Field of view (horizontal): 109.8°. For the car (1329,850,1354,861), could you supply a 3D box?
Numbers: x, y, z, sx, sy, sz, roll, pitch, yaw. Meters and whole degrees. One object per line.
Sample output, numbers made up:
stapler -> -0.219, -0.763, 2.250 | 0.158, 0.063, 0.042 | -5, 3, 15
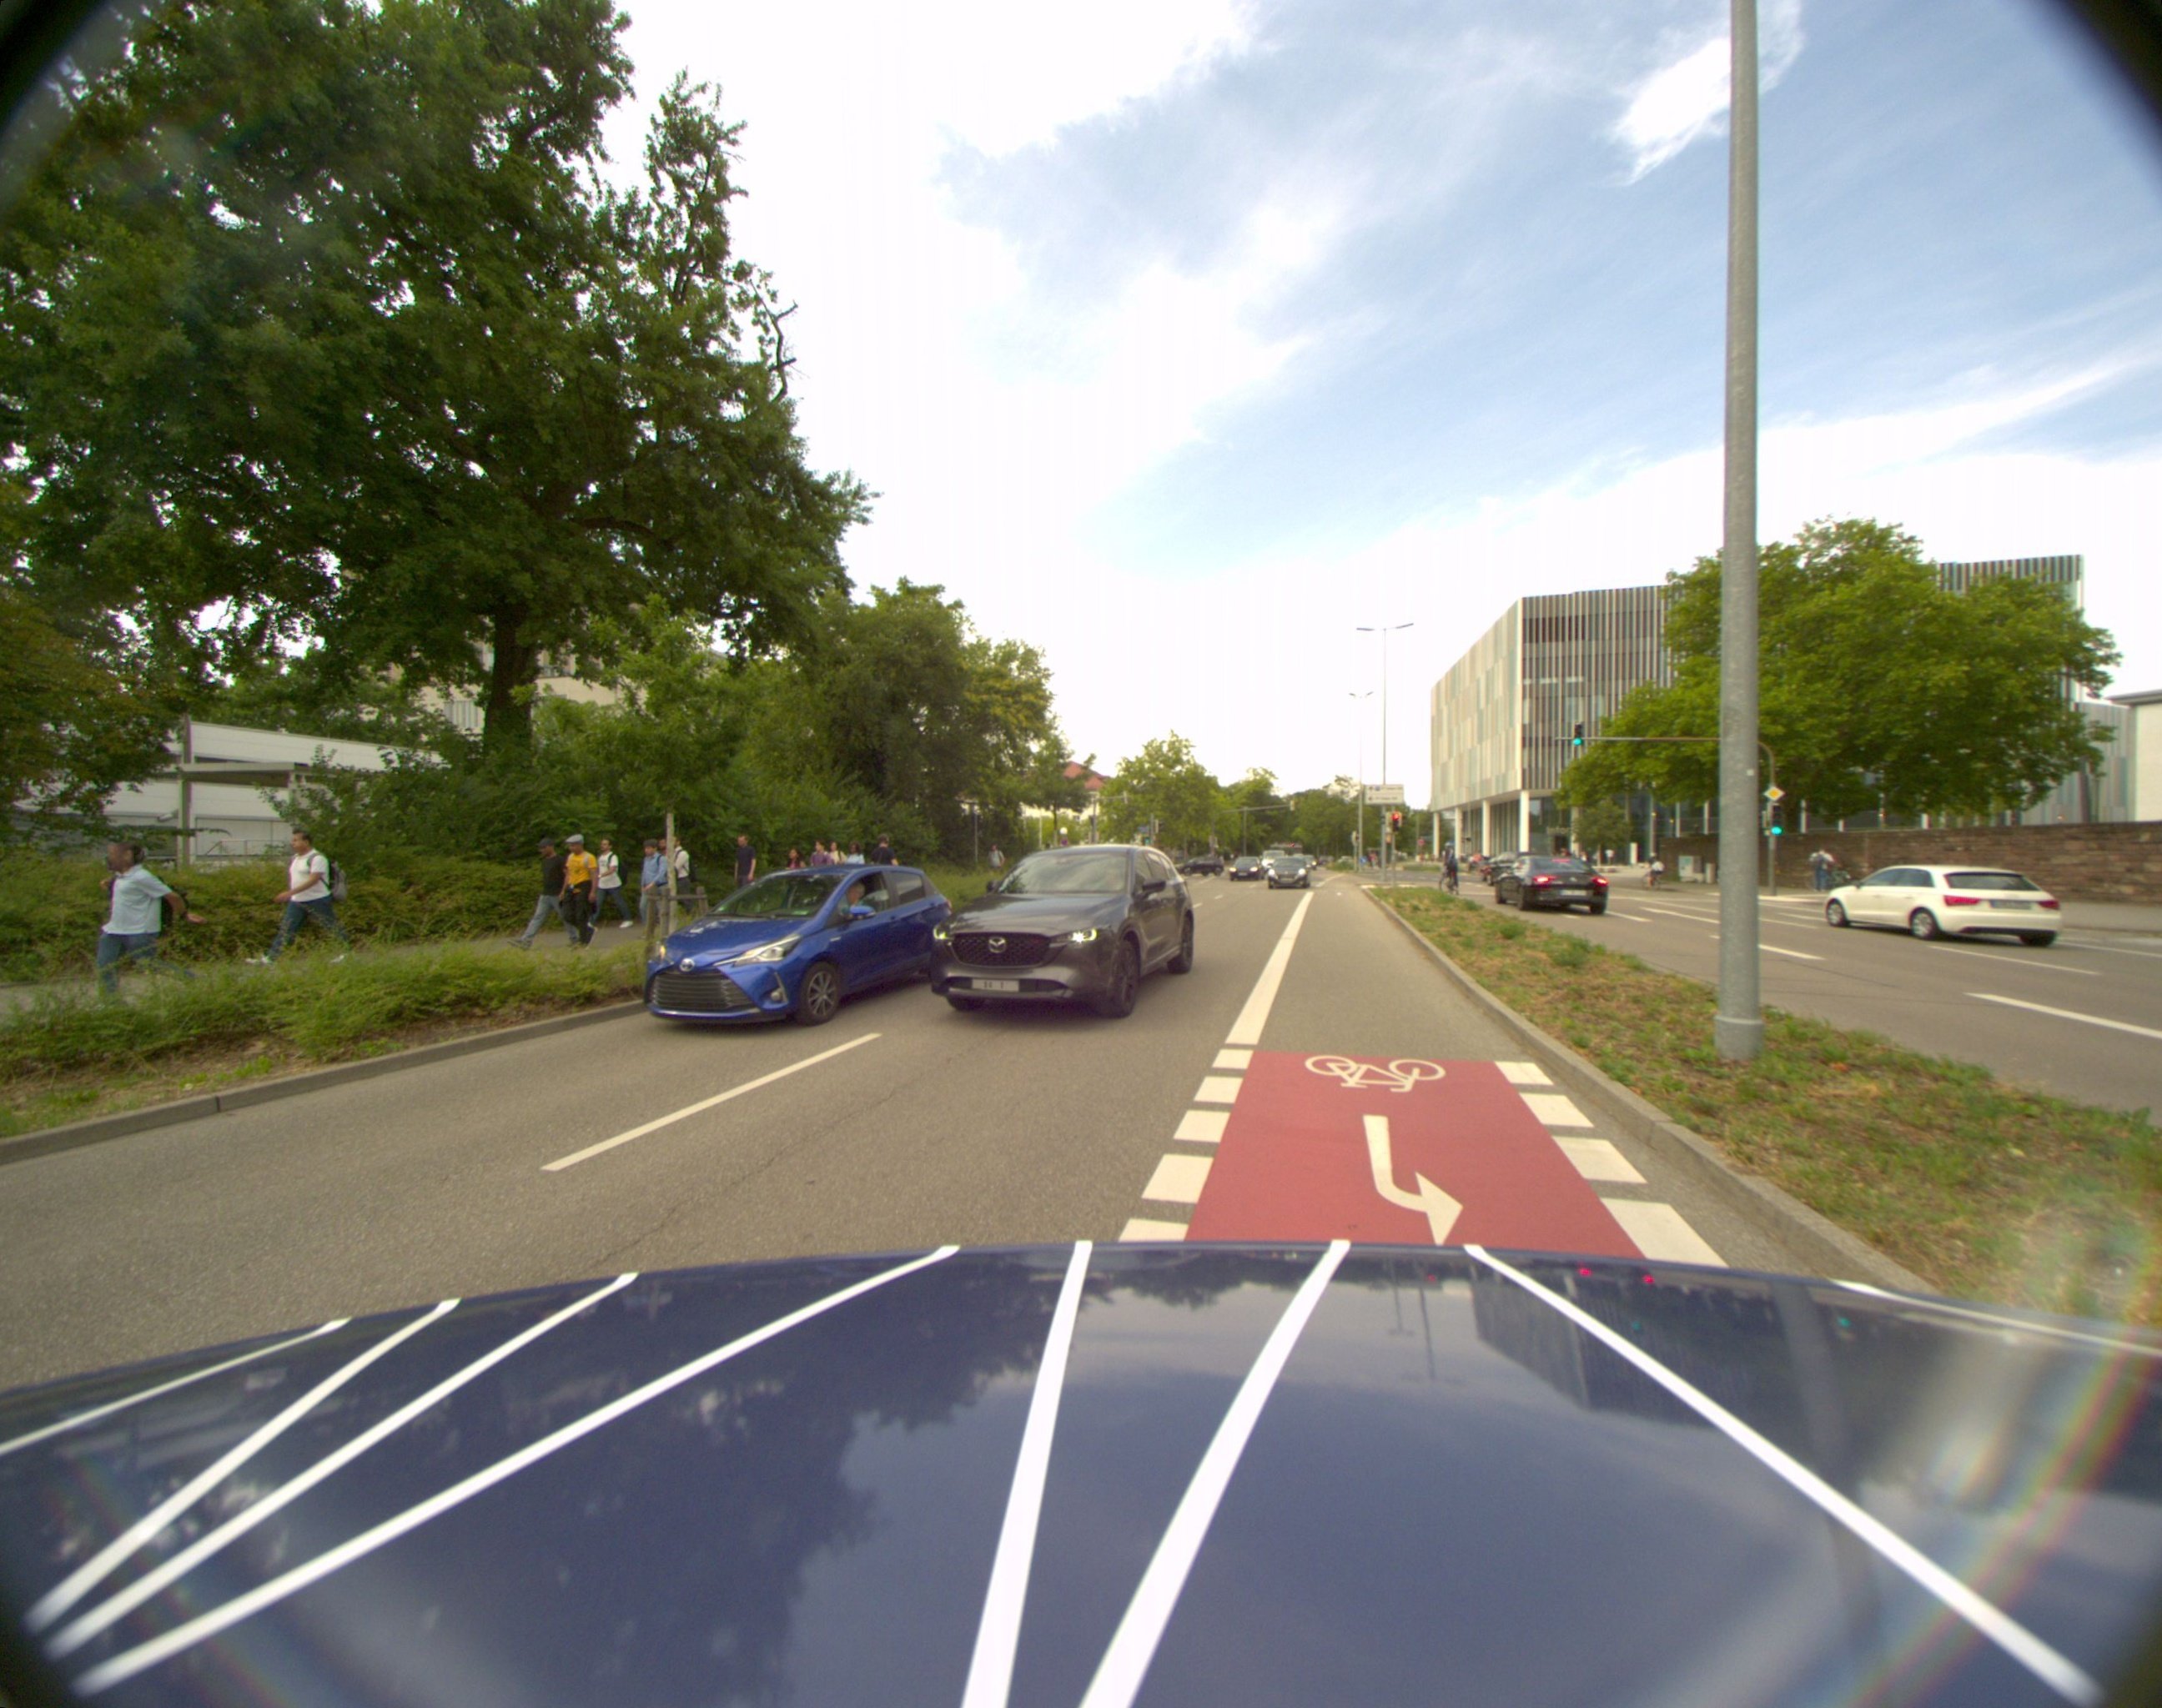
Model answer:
car -> 36.298, 0.239, 106.170 | 1.806, 1.480, 4.414 | 0, 0, -3

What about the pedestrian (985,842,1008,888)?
pedestrian -> -3.312, 0.426, 29.890 | 0.645, 1.785, 0.741 | 0, 1, 16

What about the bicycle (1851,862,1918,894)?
bicycle -> 28.699, 0.848, 27.184 | 0.549, 1.052, 1.982 | -3, 0, 11

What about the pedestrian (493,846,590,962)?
pedestrian -> -8.082, 0.716, 11.420 | 0.657, 1.657, 0.972 | 0, 1, 16

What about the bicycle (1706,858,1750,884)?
bicycle -> 29.820, 0.774, 35.047 | 0.578, 1.119, 2.167 | -3, 0, 13

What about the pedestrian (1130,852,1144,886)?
pedestrian -> 2.770, 0.721, 37.441 | 0.546, 1.677, 0.637 | 0, 1, 16

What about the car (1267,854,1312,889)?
car -> 9.556, 0.760, 34.650 | 1.658, 1.455, 4.006 | -2, 0, 20

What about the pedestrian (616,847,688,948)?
pedestrian -> -7.221, 0.711, 12.812 | 0.657, 1.639, 0.813 | 0, 1, 16

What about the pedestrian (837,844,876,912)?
pedestrian -> -5.824, 0.600, 19.741 | 0.657, 1.735, 0.781 | 0, 1, 16

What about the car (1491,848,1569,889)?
car -> 19.740, 0.589, 33.612 | 1.804, 1.656, 4.305 | 2, 1, 14

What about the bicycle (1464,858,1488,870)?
bicycle -> 32.347, 0.814, 62.232 | 1.691, 0.983, 0.571 | 0, 1, 1

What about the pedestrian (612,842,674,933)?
pedestrian -> -8.433, 0.623, 14.637 | 0.657, 1.689, 0.781 | 0, 1, 16

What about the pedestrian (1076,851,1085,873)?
pedestrian -> -0.071, 0.643, 64.114 | 0.646, 1.842, 0.829 | -1, 1, 4

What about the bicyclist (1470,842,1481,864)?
bicyclist -> 32.316, -0.102, 62.212 | 0.601, 1.796, 0.562 | -2, 1, 1

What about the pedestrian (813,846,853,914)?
pedestrian -> -6.482, 0.668, 19.912 | 0.657, 1.735, 0.781 | 0, 1, 16

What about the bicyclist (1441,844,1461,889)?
bicyclist -> 12.821, 0.428, 26.328 | 0.572, 1.565, 0.700 | 0, 1, 22

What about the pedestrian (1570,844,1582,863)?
pedestrian -> 45.631, -0.088, 70.046 | 0.731, 1.730, 0.677 | -1, 1, -19

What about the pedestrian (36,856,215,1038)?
pedestrian -> -9.016, 0.825, 7.193 | 0.776, 1.593, 0.813 | 0, 1, 18

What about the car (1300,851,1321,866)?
car -> 22.984, 0.435, 76.145 | 1.659, 1.455, 4.004 | -2, 0, 13

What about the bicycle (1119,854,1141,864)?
bicycle -> 5.751, 0.563, 89.613 | 2.469, 1.136, 0.718 | 0, 1, 16

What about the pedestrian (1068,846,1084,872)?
pedestrian -> -0.349, 0.344, 53.967 | 0.768, 1.794, 0.893 | -1, 1, 20

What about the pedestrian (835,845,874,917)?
pedestrian -> -5.581, 0.649, 18.763 | 0.582, 1.735, 0.790 | 0, 1, 16

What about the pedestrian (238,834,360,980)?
pedestrian -> -9.778, 0.632, 9.523 | 0.722, 1.734, 0.813 | 0, 1, 18

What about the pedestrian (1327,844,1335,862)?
pedestrian -> 26.159, -0.097, 79.483 | 0.726, 1.843, 1.065 | 0, 1, 13

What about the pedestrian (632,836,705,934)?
pedestrian -> -7.756, 0.566, 14.322 | 0.657, 1.756, 0.959 | -3, 0, 16

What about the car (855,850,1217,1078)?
car -> -0.062, 0.821, 8.103 | 1.901, 1.639, 4.652 | -1, 0, 24

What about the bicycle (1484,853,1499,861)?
bicycle -> 48.904, 0.381, 90.569 | 1.544, 0.932, 0.394 | -2, 0, 10

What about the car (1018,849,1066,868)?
car -> -3.177, 0.400, 62.061 | 3.576, 1.483, 1.676 | 0, 1, 14

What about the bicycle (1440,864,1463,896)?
bicycle -> 12.833, 0.875, 26.334 | 0.574, 1.049, 1.929 | 0, 0, 22

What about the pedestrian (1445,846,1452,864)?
pedestrian -> 36.867, 0.136, 76.269 | 0.511, 1.826, 0.773 | 0, 0, 14

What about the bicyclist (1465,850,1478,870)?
bicyclist -> 32.860, 0.481, 63.915 | 0.728, 1.663, 0.724 | -2, 1, 1

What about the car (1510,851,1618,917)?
car -> 12.331, 0.675, 19.665 | 1.803, 1.480, 4.413 | 0, 0, 25

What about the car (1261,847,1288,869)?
car -> 16.390, 0.301, 64.186 | 1.996, 1.761, 4.005 | 0, 0, 18

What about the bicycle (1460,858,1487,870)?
bicycle -> 32.997, 0.828, 63.917 | 1.821, 0.983, 0.728 | -2, 1, 1

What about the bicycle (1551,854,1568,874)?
bicycle -> 30.752, 0.641, 48.867 | 0.619, 1.210, 2.048 | 0, 1, 23

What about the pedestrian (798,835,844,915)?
pedestrian -> -5.755, 0.452, 16.839 | 0.625, 1.735, 0.781 | 0, 1, 16

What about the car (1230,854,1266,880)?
car -> 10.316, 0.778, 46.763 | 1.658, 1.455, 4.005 | -2, 0, 19

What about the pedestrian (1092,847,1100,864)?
pedestrian -> 1.673, 0.178, 85.858 | 0.687, 1.951, 0.601 | -2, 1, -25

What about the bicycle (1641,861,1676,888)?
bicycle -> 25.726, 0.900, 33.887 | 0.582, 1.164, 1.967 | 0, 0, 16

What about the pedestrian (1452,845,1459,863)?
pedestrian -> 37.537, 0.035, 76.123 | 0.511, 1.826, 0.625 | 0, 0, 14

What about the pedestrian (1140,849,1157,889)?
pedestrian -> 2.984, 0.658, 33.473 | 0.602, 1.725, 0.655 | 0, 1, 16

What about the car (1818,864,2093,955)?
car -> 16.505, 0.955, 14.681 | 1.672, 1.381, 3.927 | 2, 1, 18

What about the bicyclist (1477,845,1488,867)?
bicyclist -> 32.052, 0.169, 60.683 | 0.601, 1.796, 0.562 | -1, 0, -1

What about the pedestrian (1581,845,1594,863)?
pedestrian -> 45.936, 0.002, 68.951 | 0.731, 1.591, 0.677 | -1, 1, -16

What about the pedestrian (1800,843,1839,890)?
pedestrian -> 28.604, 0.485, 29.424 | 0.747, 1.772, 0.782 | -1, 2, -17

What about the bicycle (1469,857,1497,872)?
bicycle -> 32.092, 0.808, 60.710 | 1.894, 1.163, 0.607 | 0, 1, 0

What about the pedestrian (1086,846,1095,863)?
pedestrian -> 1.073, 0.075, 85.362 | 0.687, 1.951, 0.601 | -2, 1, -25

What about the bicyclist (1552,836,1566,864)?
bicyclist -> 30.768, -0.241, 48.896 | 0.618, 1.772, 0.812 | 0, 1, 23

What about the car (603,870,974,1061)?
car -> -2.857, 0.966, 8.386 | 1.700, 1.485, 3.837 | 0, 0, 20

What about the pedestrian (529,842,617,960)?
pedestrian -> -7.519, 0.666, 11.283 | 0.657, 1.680, 0.843 | 0, 1, 16

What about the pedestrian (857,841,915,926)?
pedestrian -> -4.336, 0.625, 16.875 | 0.889, 1.820, 0.934 | -1, 1, -45

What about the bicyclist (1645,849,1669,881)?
bicyclist -> 25.737, 0.475, 33.955 | 0.581, 1.411, 0.812 | 0, 1, 16

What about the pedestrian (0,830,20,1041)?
pedestrian -> -9.683, 0.701, 6.317 | 0.656, 1.811, 0.813 | 0, 1, 18

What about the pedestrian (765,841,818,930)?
pedestrian -> -5.804, 0.609, 15.257 | 0.657, 1.735, 0.781 | 0, 1, 16

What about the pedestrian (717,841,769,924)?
pedestrian -> -7.289, 0.590, 16.403 | 0.657, 1.735, 0.781 | 0, 1, 16
